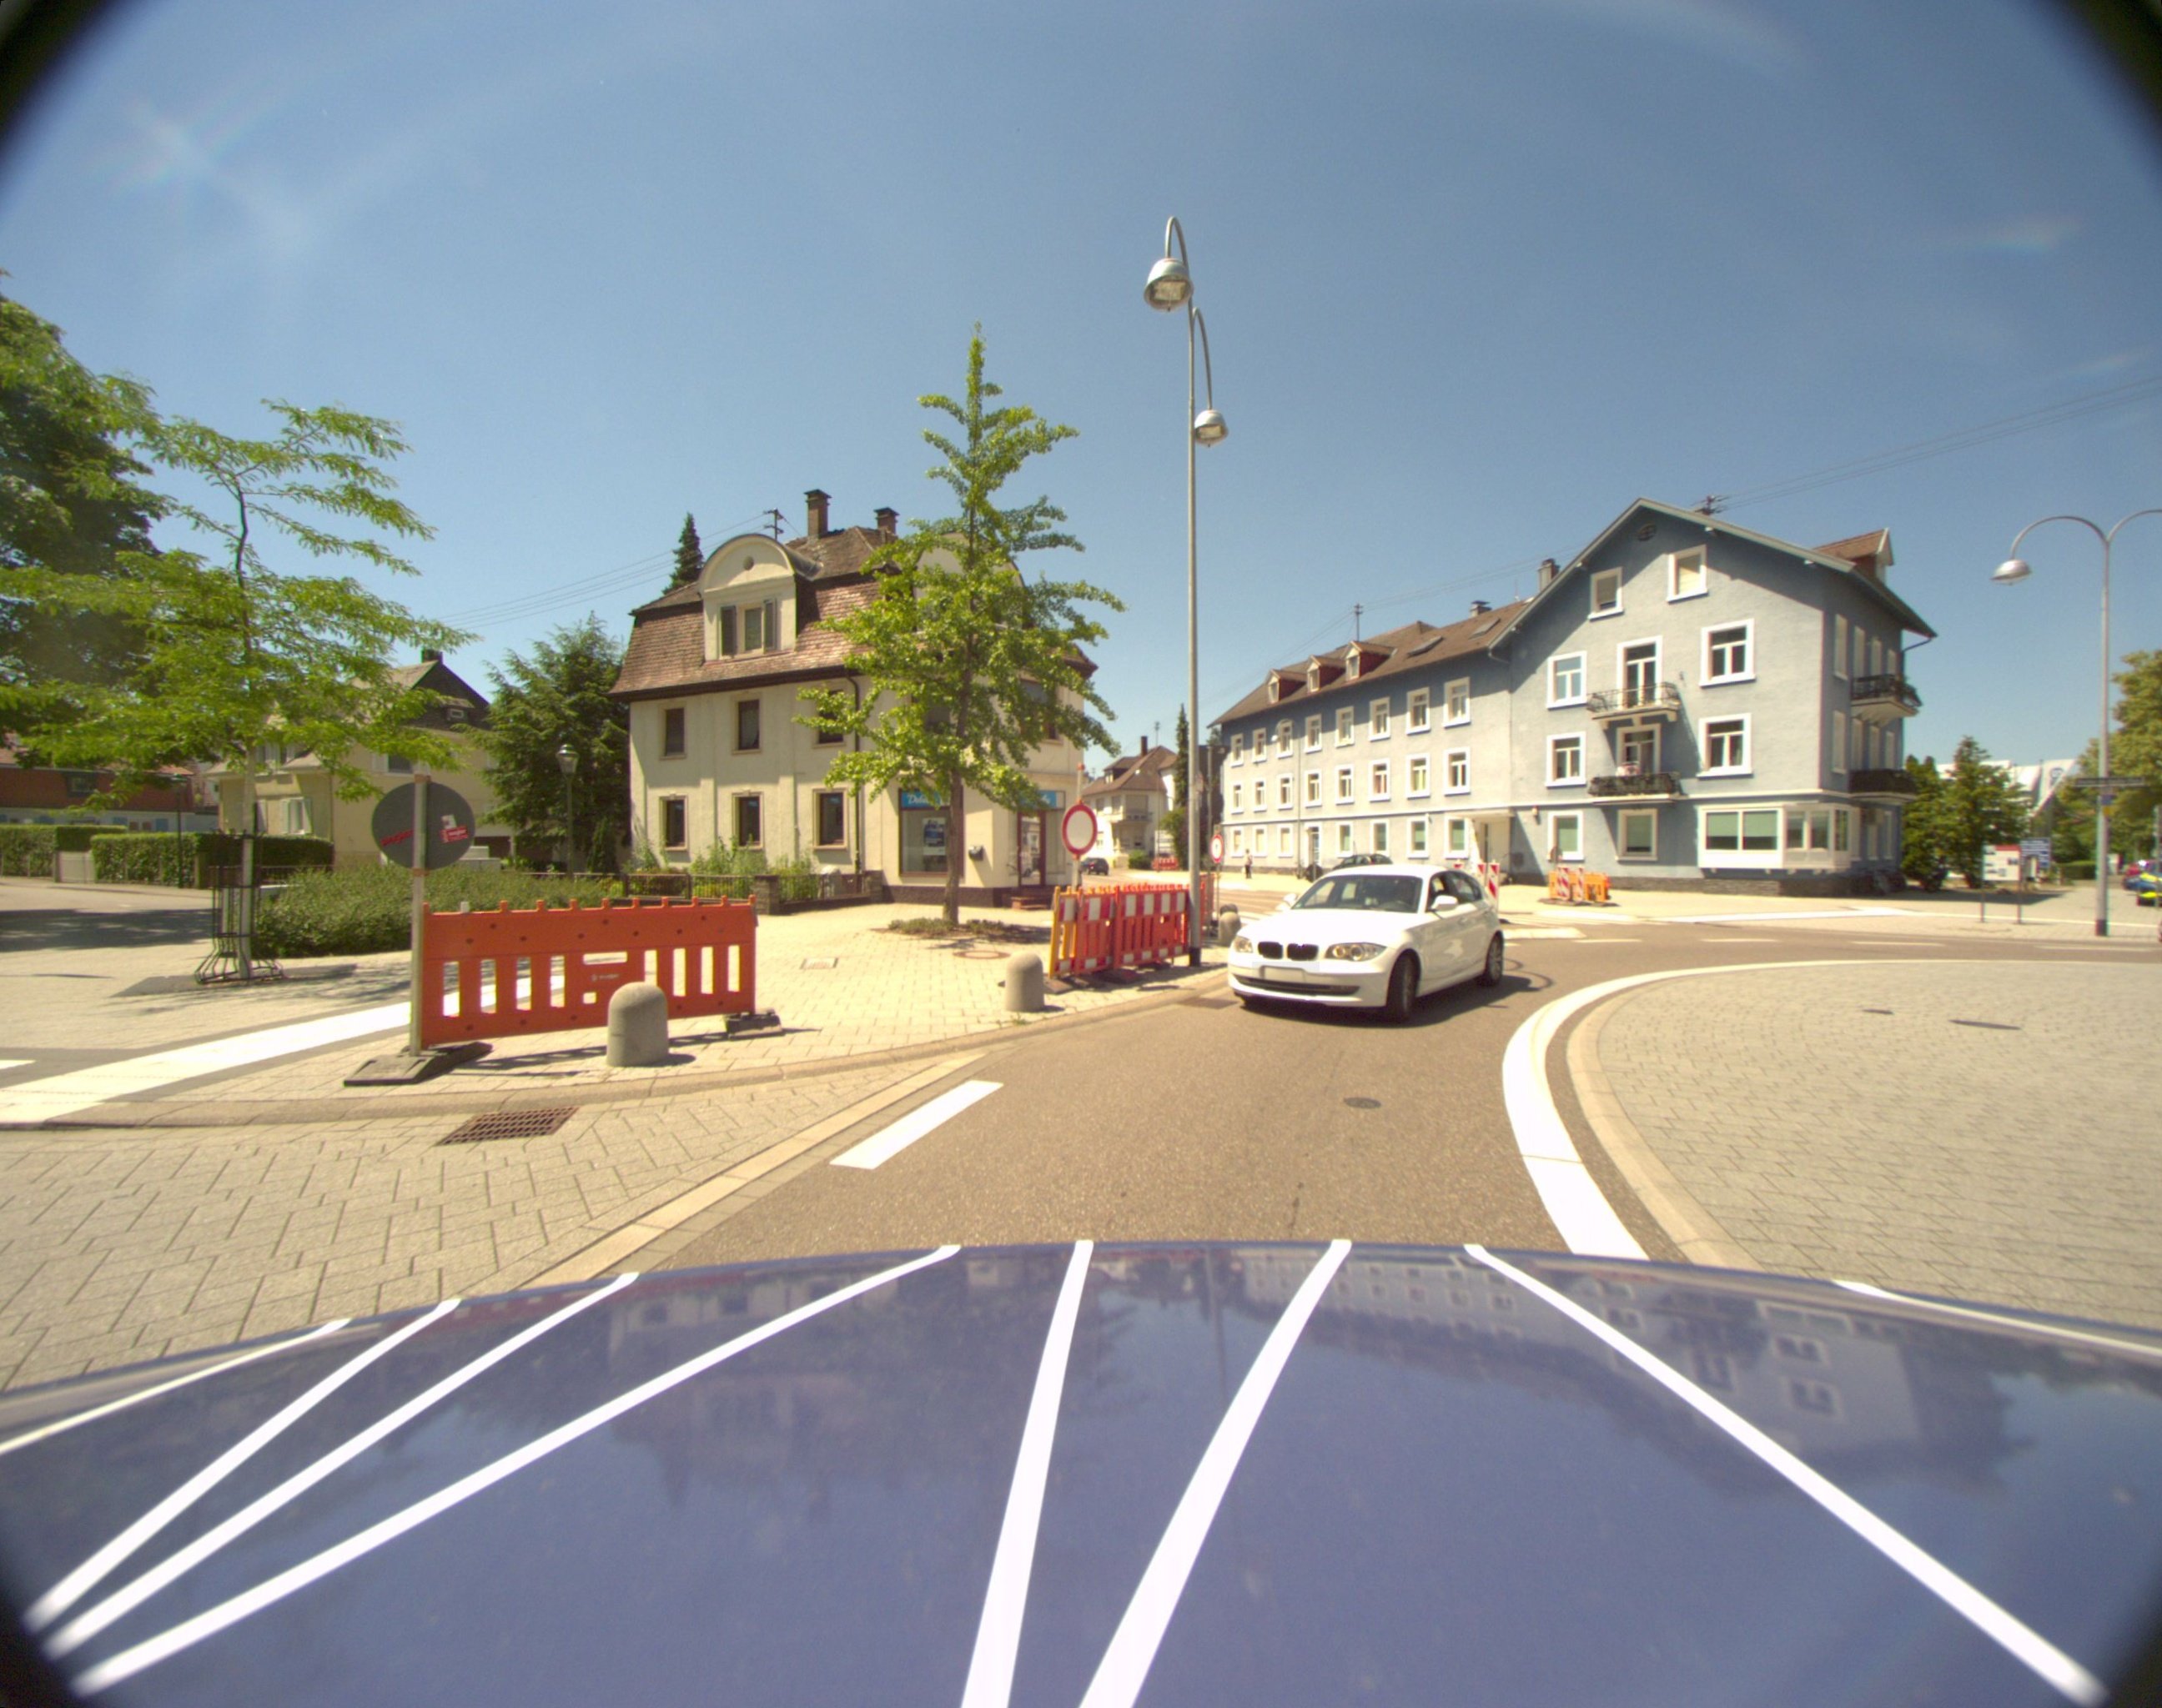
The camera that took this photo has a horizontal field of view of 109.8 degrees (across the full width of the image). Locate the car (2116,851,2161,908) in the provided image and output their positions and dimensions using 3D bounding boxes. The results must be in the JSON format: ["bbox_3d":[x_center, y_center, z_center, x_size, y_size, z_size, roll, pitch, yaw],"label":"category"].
[{"bbox_3d":[35.800,0.794,25.082,4.251,1.767,1.776,-1,1,-34],"label":"car"}]

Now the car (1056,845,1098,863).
[{"bbox_3d":[-0.460,0.001,87.860,4.372,1.866,1.846,2,0,-26],"label":"car"}]

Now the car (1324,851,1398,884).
[{"bbox_3d":[14.557,0.657,39.658,1.584,1.526,3.767,-1,2,-19],"label":"car"}]

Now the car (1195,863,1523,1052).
[{"bbox_3d":[3.212,0.900,8.287,1.782,1.541,4.138,-1,-2,45],"label":"car"}]

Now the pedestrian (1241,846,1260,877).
[{"bbox_3d":[10.407,0.480,46.684,0.759,1.838,0.770,-4,2,-20],"label":"pedestrian"}]

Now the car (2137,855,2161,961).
[{"bbox_3d":[19.909,0.903,11.557,4.231,1.767,1.785,0,0,44],"label":"car"}]

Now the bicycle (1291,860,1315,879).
[{"bbox_3d":[12.716,0.867,43.533,0.497,0.972,1.971,-4,2,-9],"label":"bicycle"}]

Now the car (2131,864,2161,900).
[{"bbox_3d":[45.972,1.189,30.747,1.664,1.352,4.021,-4,3,-34],"label":"car"}]
